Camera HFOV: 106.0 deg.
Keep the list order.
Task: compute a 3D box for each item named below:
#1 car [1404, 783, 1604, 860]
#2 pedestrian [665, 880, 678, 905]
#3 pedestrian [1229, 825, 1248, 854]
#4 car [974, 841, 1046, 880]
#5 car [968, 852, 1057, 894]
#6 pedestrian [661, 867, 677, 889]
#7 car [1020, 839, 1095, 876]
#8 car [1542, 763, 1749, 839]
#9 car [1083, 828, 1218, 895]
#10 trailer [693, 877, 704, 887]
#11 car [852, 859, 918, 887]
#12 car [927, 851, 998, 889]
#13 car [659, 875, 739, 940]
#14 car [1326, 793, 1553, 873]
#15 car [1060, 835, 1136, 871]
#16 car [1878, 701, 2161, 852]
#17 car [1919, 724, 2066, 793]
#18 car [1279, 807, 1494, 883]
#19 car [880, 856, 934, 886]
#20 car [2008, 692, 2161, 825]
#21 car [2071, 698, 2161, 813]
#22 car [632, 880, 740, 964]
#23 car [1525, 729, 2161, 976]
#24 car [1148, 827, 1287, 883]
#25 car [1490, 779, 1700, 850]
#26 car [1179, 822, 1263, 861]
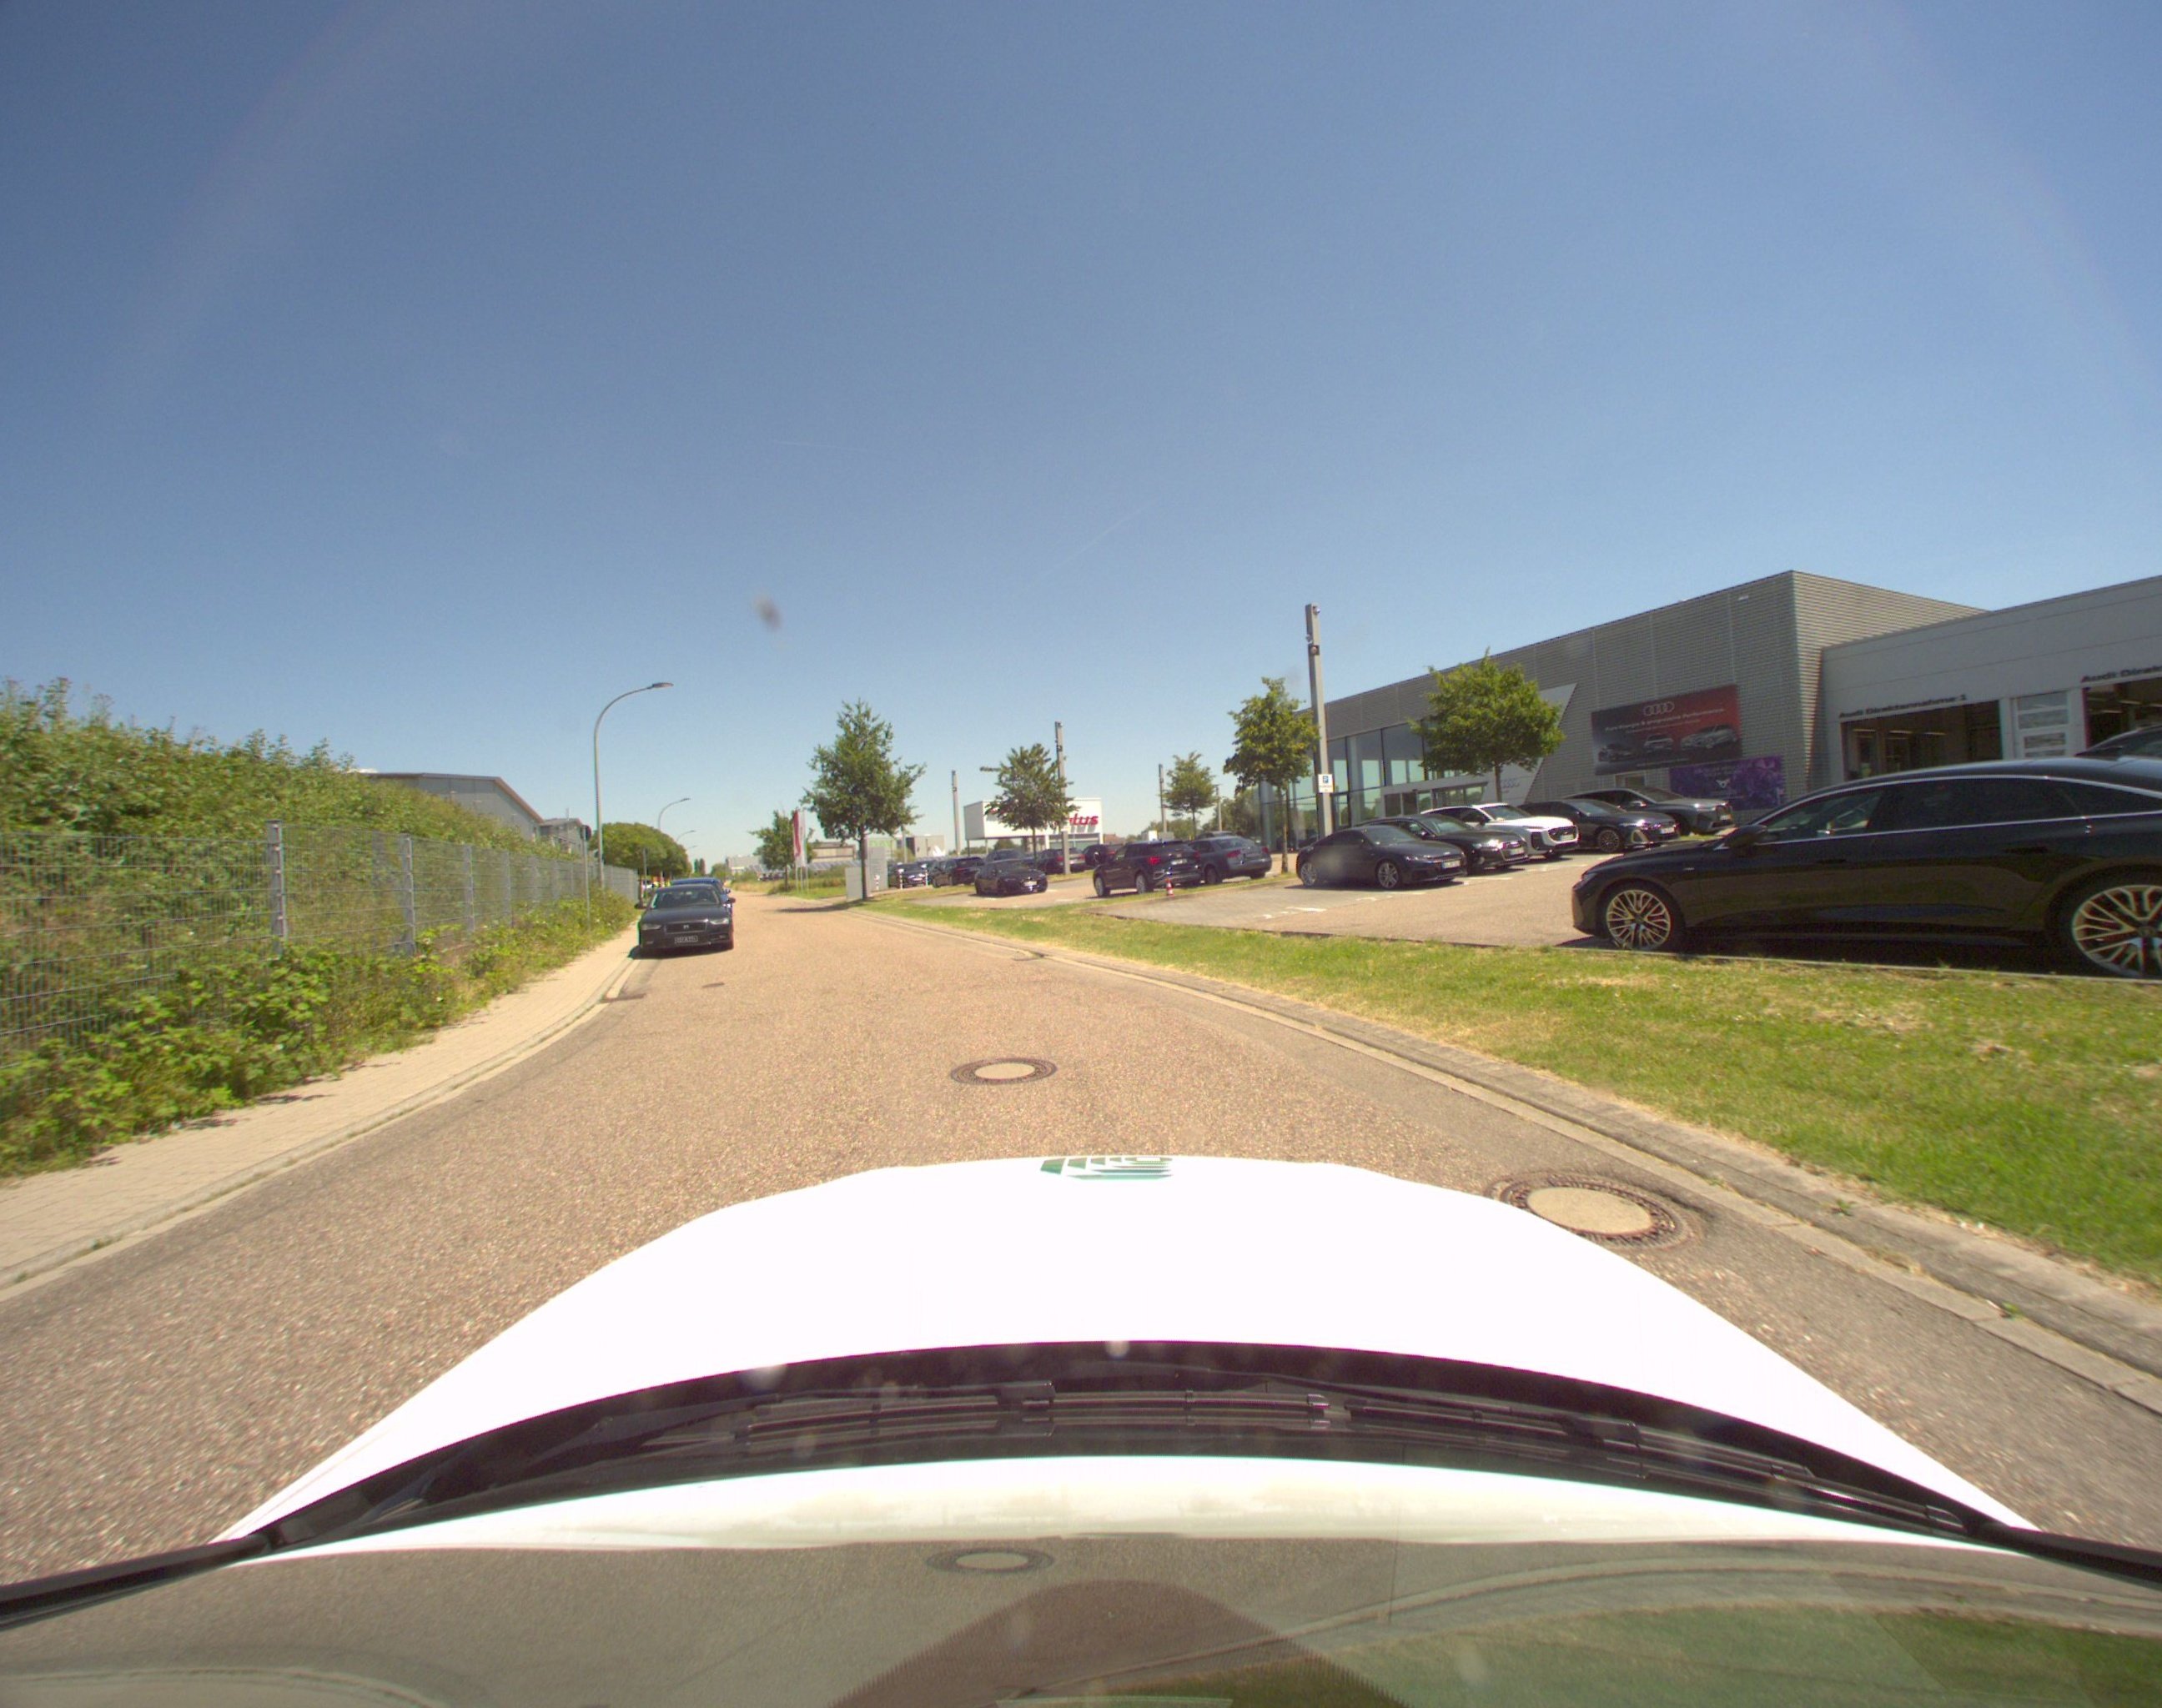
[{"bbox_3d":[11.011,-0.780,21.540,1.972,1.613,4.251,-5,0,-26],"label":"car"},{"bbox_3d":[-30.384,2.864,60.454,0.748,1.802,1.126,-1,-2,-24],"label":"pedestrian"},{"bbox_3d":[10.097,-0.956,52.281,0.773,1.776,0.740,-4,-1,-21],"label":"pedestrian"},{"bbox_3d":[-3.700,0.375,41.457,1.972,1.598,4.943,-5,-2,-25],"label":"car"},{"bbox_3d":[-2.895,0.744,33.167,1.972,1.366,4.681,-7,2,-25],"label":"car"},{"bbox_3d":[-36.771,2.144,72.717,0.834,1.973,0.968,-2,-1,15],"label":"pedestrian"},{"bbox_3d":[-1.301,0.210,42.072,1.972,1.456,4.943,-5,-2,-25],"label":"car"},{"bbox_3d":[16.821,-1.526,24.567,1.972,1.739,4.687,-5,0,-26],"label":"car"},{"bbox_3d":[1.898,0.254,23.648,1.898,1.571,4.190,-7,1,-26],"label":"car"},{"bbox_3d":[-92.133,6.743,196.008,2.212,2.137,4.249,-4,-1,-25],"label":"trailer"},{"bbox_3d":[-15.140,1.467,62.968,4.555,1.692,2.013,-5,0,-28],"label":"car"},{"bbox_3d":[-5.906,0.833,40.080,1.972,1.456,4.943,-5,-2,-25],"label":"car"},{"bbox_3d":[-11.097,1.468,23.594,1.834,1.570,4.348,-4,0,-26],"label":"car"},{"bbox_3d":[8.663,-0.433,20.250,1.972,1.553,4.962,-5,0,-26],"label":"car"},{"bbox_3d":[0.819,-0.002,43.124,1.972,1.456,4.943,-5,-2,-25],"label":"car"},{"bbox_3d":[13.223,-0.987,9.835,1.834,1.643,4.744,-4,0,-26],"label":"car"},{"bbox_3d":[29.809,-3.121,26.630,4.331,1.742,1.951,-7,1,-25],"label":"car"},{"bbox_3d":[6.718,-0.138,18.410,1.972,1.374,4.274,-5,0,-26],"label":"car"},{"bbox_3d":[-10.872,1.077,50.574,2.035,1.514,5.195,-7,1,-25],"label":"car"},{"bbox_3d":[15.736,-1.414,10.654,1.834,1.694,4.378,-4,0,-26],"label":"car"},{"bbox_3d":[18.475,-1.740,11.981,1.972,1.742,4.586,-7,1,-26],"label":"car"},{"bbox_3d":[-8.708,1.387,17.993,1.834,1.454,4.541,-4,0,-26],"label":"car"},{"bbox_3d":[6.524,-0.049,6.485,1.890,1.454,4.980,-6,1,-26],"label":"car"},{"bbox_3d":[4.027,0.069,24.705,1.972,1.366,4.190,-7,1,-26],"label":"car"},{"bbox_3d":[13.660,-0.996,21.952,1.972,1.476,4.334,-5,0,-26],"label":"car"},{"bbox_3d":[7.617,-0.665,44.771,1.972,1.620,4.943,-5,-2,-25],"label":"car"}]
